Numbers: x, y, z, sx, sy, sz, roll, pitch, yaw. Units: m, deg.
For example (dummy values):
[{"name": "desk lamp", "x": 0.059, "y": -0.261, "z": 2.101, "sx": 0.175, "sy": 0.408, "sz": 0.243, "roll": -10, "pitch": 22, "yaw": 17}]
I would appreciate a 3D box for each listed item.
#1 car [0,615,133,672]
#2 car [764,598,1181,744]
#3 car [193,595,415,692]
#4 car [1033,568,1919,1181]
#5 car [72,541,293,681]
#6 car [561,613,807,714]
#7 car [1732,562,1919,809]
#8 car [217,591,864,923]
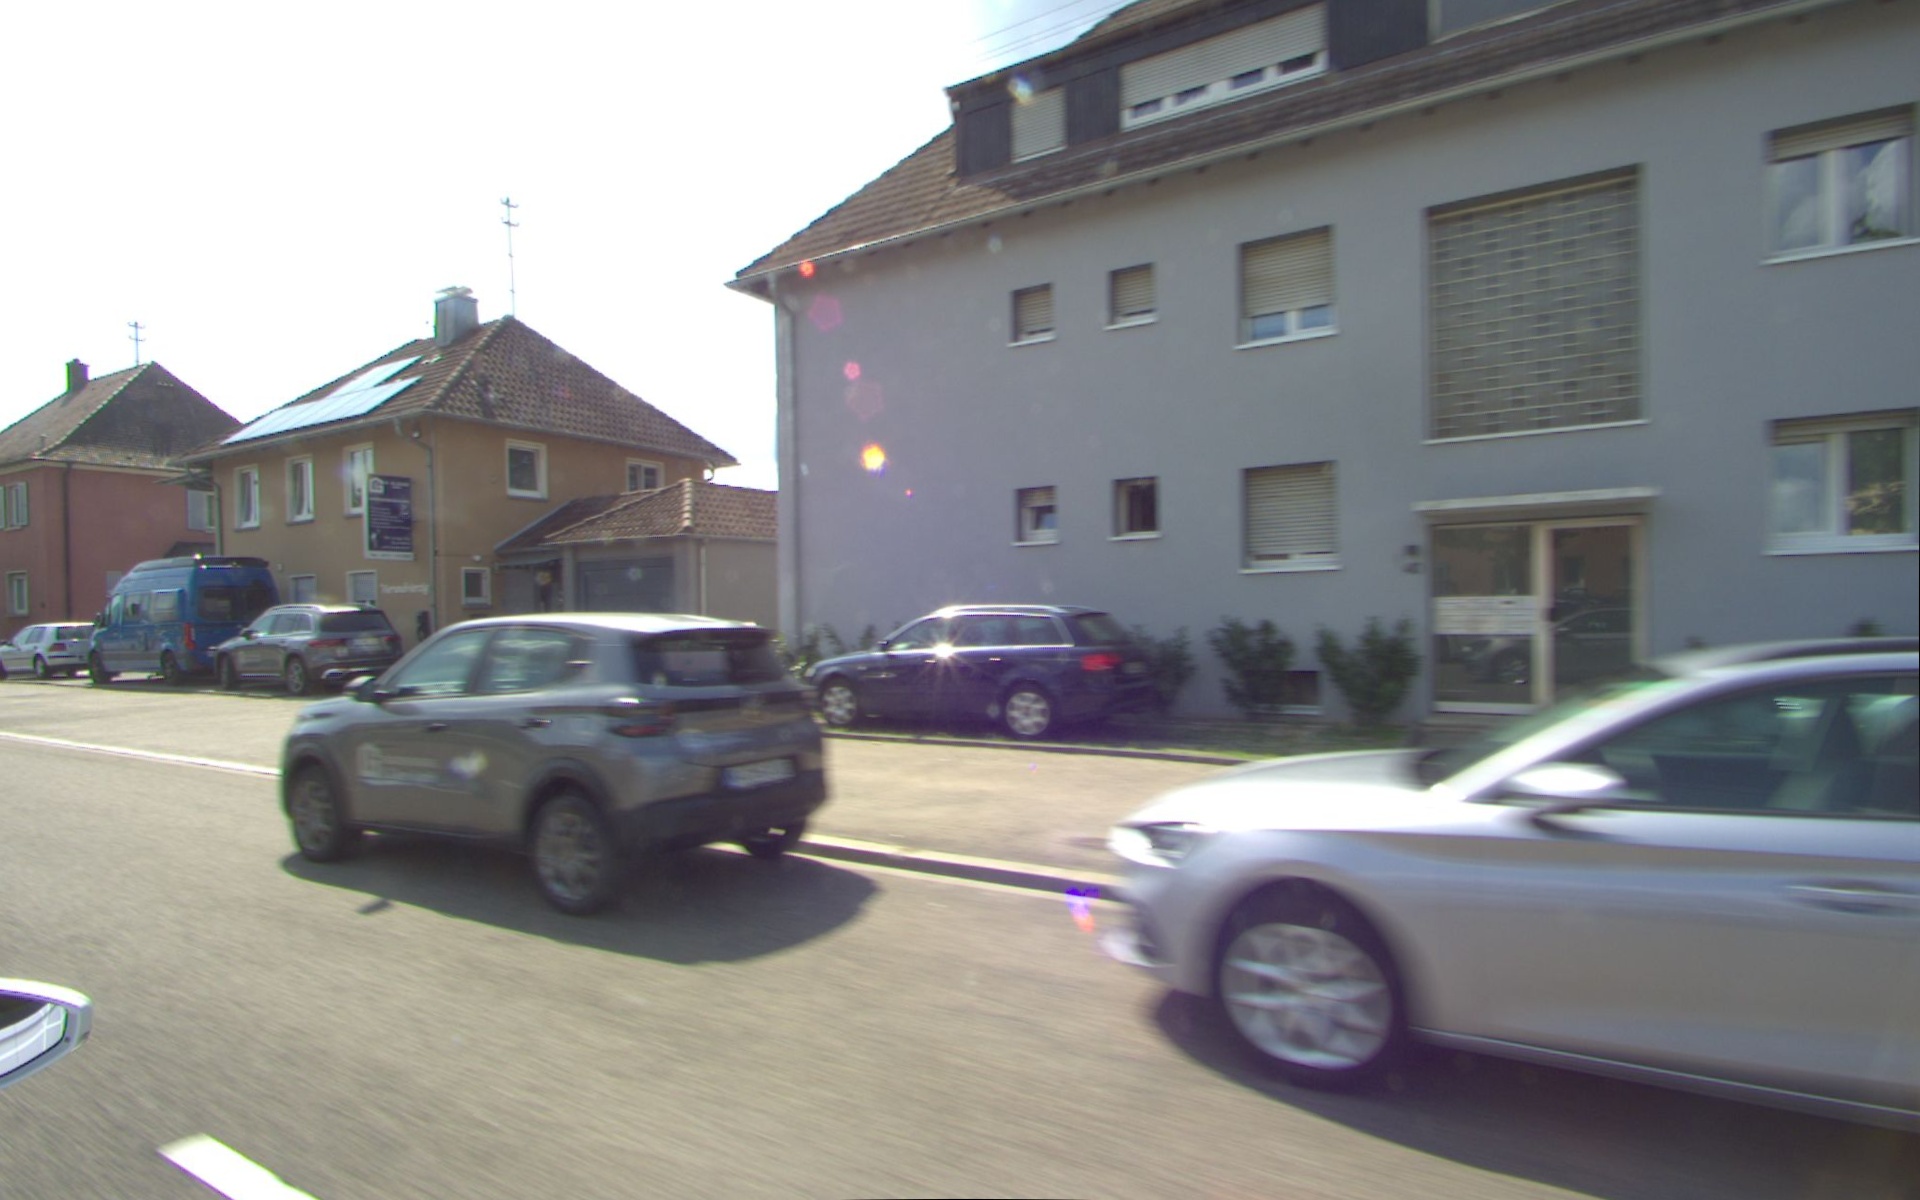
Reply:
[{"name": "car", "x": -24.457, "y": 1.166, "z": 27.107, "sx": 4.282, "sy": 1.428, "sz": 1.648, "roll": -1, "pitch": 0, "yaw": 27}, {"name": "car", "x": 0.046, "y": 0.750, "z": 12.056, "sx": 4.788, "sy": 1.442, "sz": 1.795, "roll": -1, "pitch": 0, "yaw": 32}, {"name": "car", "x": -13.395, "y": 0.822, "z": 20.369, "sx": 4.792, "sy": 1.735, "sz": 1.832, "roll": -1, "pitch": 2, "yaw": 31}, {"name": "car", "x": 2.679, "y": 0.685, "z": 3.252, "sx": 4.578, "sy": 1.472, "sz": 1.811, "roll": -2, "pitch": -2, "yaw": 32}, {"name": "car", "x": -18.535, "y": 0.337, "z": 23.775, "sx": 6.155, "sy": 2.967, "sz": 2.148, "roll": -1, "pitch": -2, "yaw": 32}, {"name": "car", "x": -4.259, "y": 0.922, "z": 15.946, "sx": 1.701, "sy": 1.398, "sz": 3.645, "roll": -2, "pitch": -1, "yaw": 29}, {"name": "car", "x": 8.292, "y": 0.532, "z": 6.719, "sx": 4.698, "sy": 1.669, "sz": 1.754, "roll": -1, "pitch": 0, "yaw": 30}, {"name": "car", "x": -2.863, "y": 0.821, "z": 6.622, "sx": 4.191, "sy": 1.579, "sz": 1.805, "roll": -1, "pitch": -2, "yaw": 30}]
